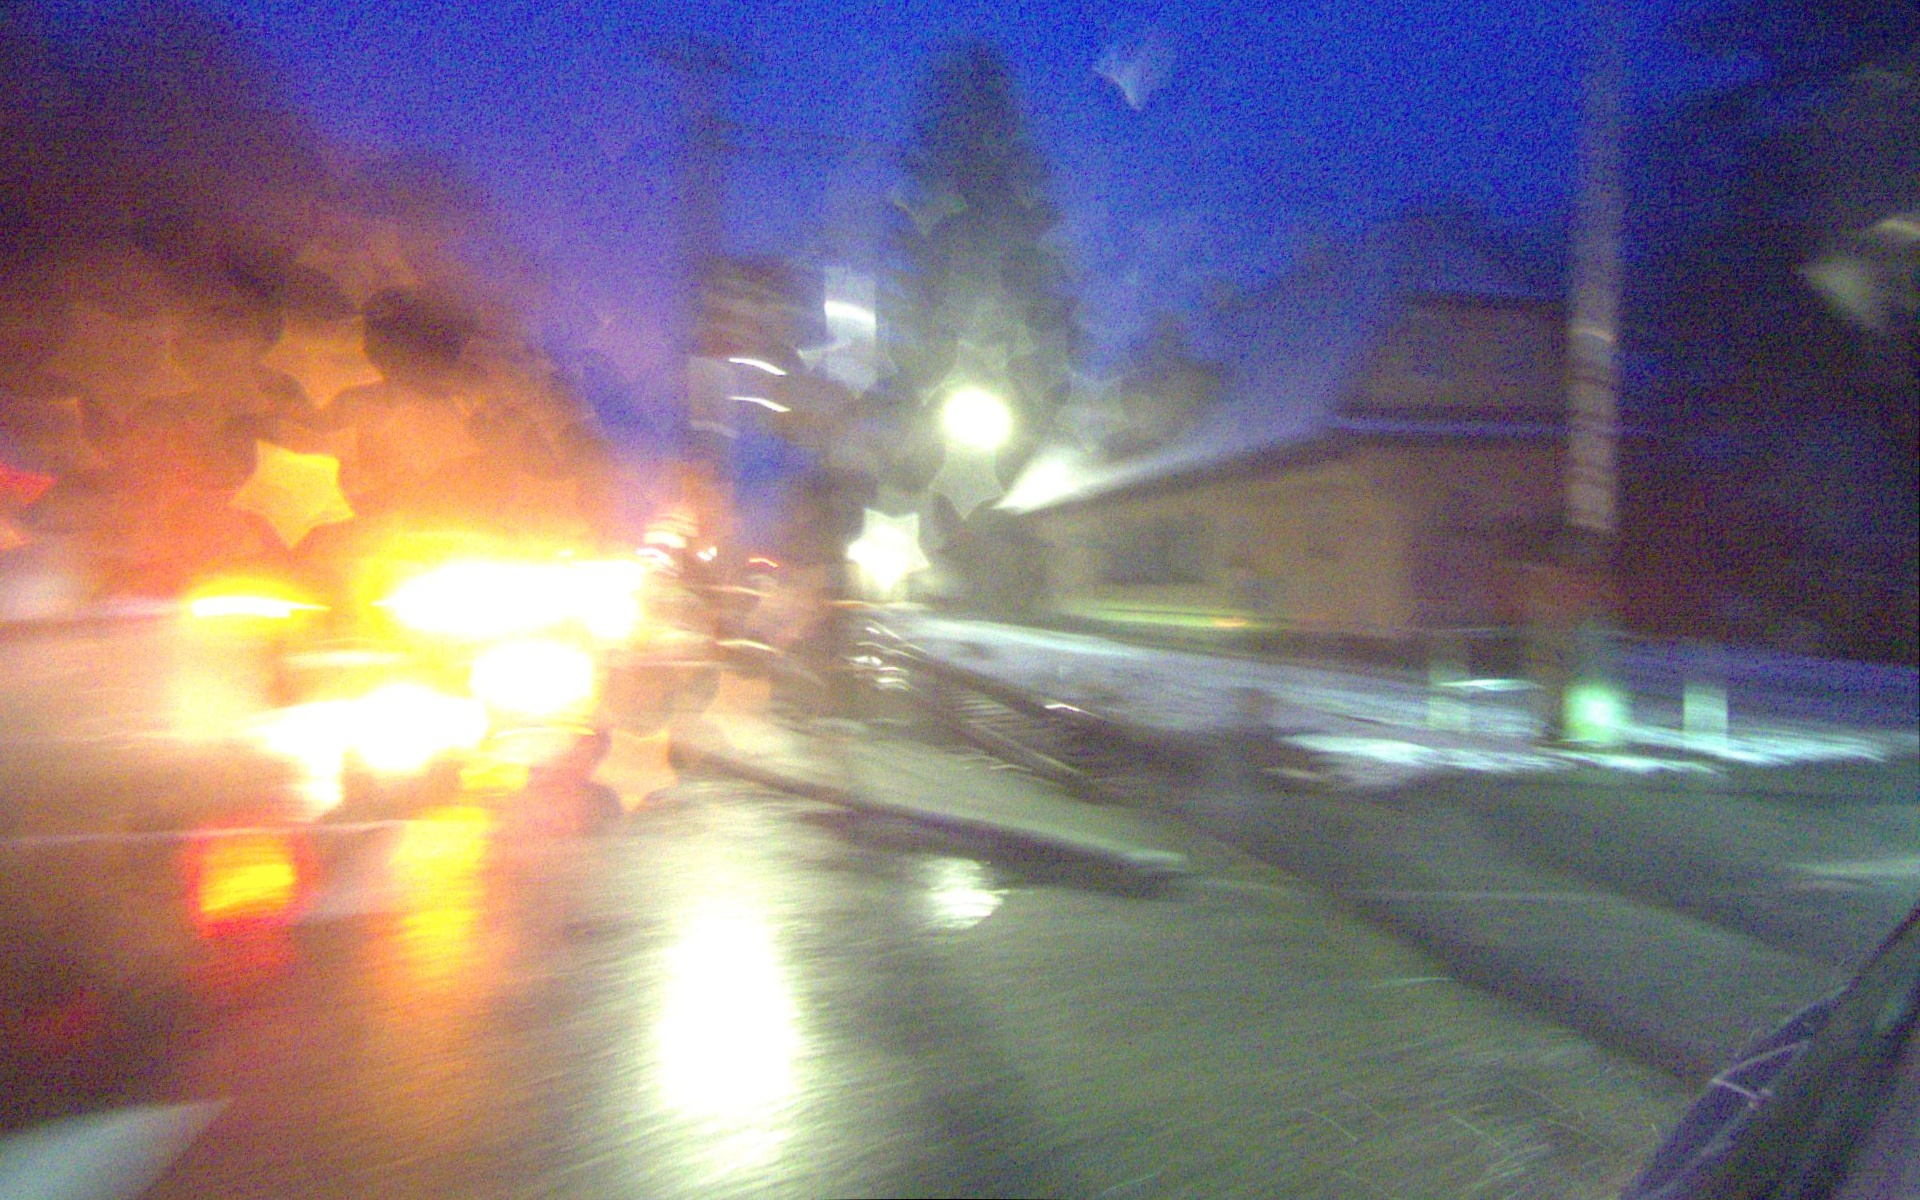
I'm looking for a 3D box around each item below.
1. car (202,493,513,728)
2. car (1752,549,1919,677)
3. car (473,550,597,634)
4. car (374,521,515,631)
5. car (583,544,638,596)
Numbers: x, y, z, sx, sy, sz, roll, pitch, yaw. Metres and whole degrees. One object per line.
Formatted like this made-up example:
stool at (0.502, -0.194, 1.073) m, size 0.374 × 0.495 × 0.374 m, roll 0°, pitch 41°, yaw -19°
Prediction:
car at (-5.495, 0.110, 9.627) m, size 2.022 × 1.699 × 4.144 m, roll 1°, pitch -1°, yaw -27°
car at (12.991, 0.181, 12.713) m, size 1.898 × 1.605 × 4.493 m, roll 1°, pitch 2°, yaw -15°
car at (-8.561, -0.214, 20.718) m, size 1.875 × 1.529 × 4.251 m, roll 1°, pitch 2°, yaw -17°
car at (-12.811, -0.597, 25.504) m, size 2.129 × 2.472 × 4.871 m, roll -1°, pitch 1°, yaw -15°
car at (-14.012, -1.156, 40.723) m, size 1.739 × 1.972 × 4.263 m, roll 0°, pitch 0°, yaw -15°
